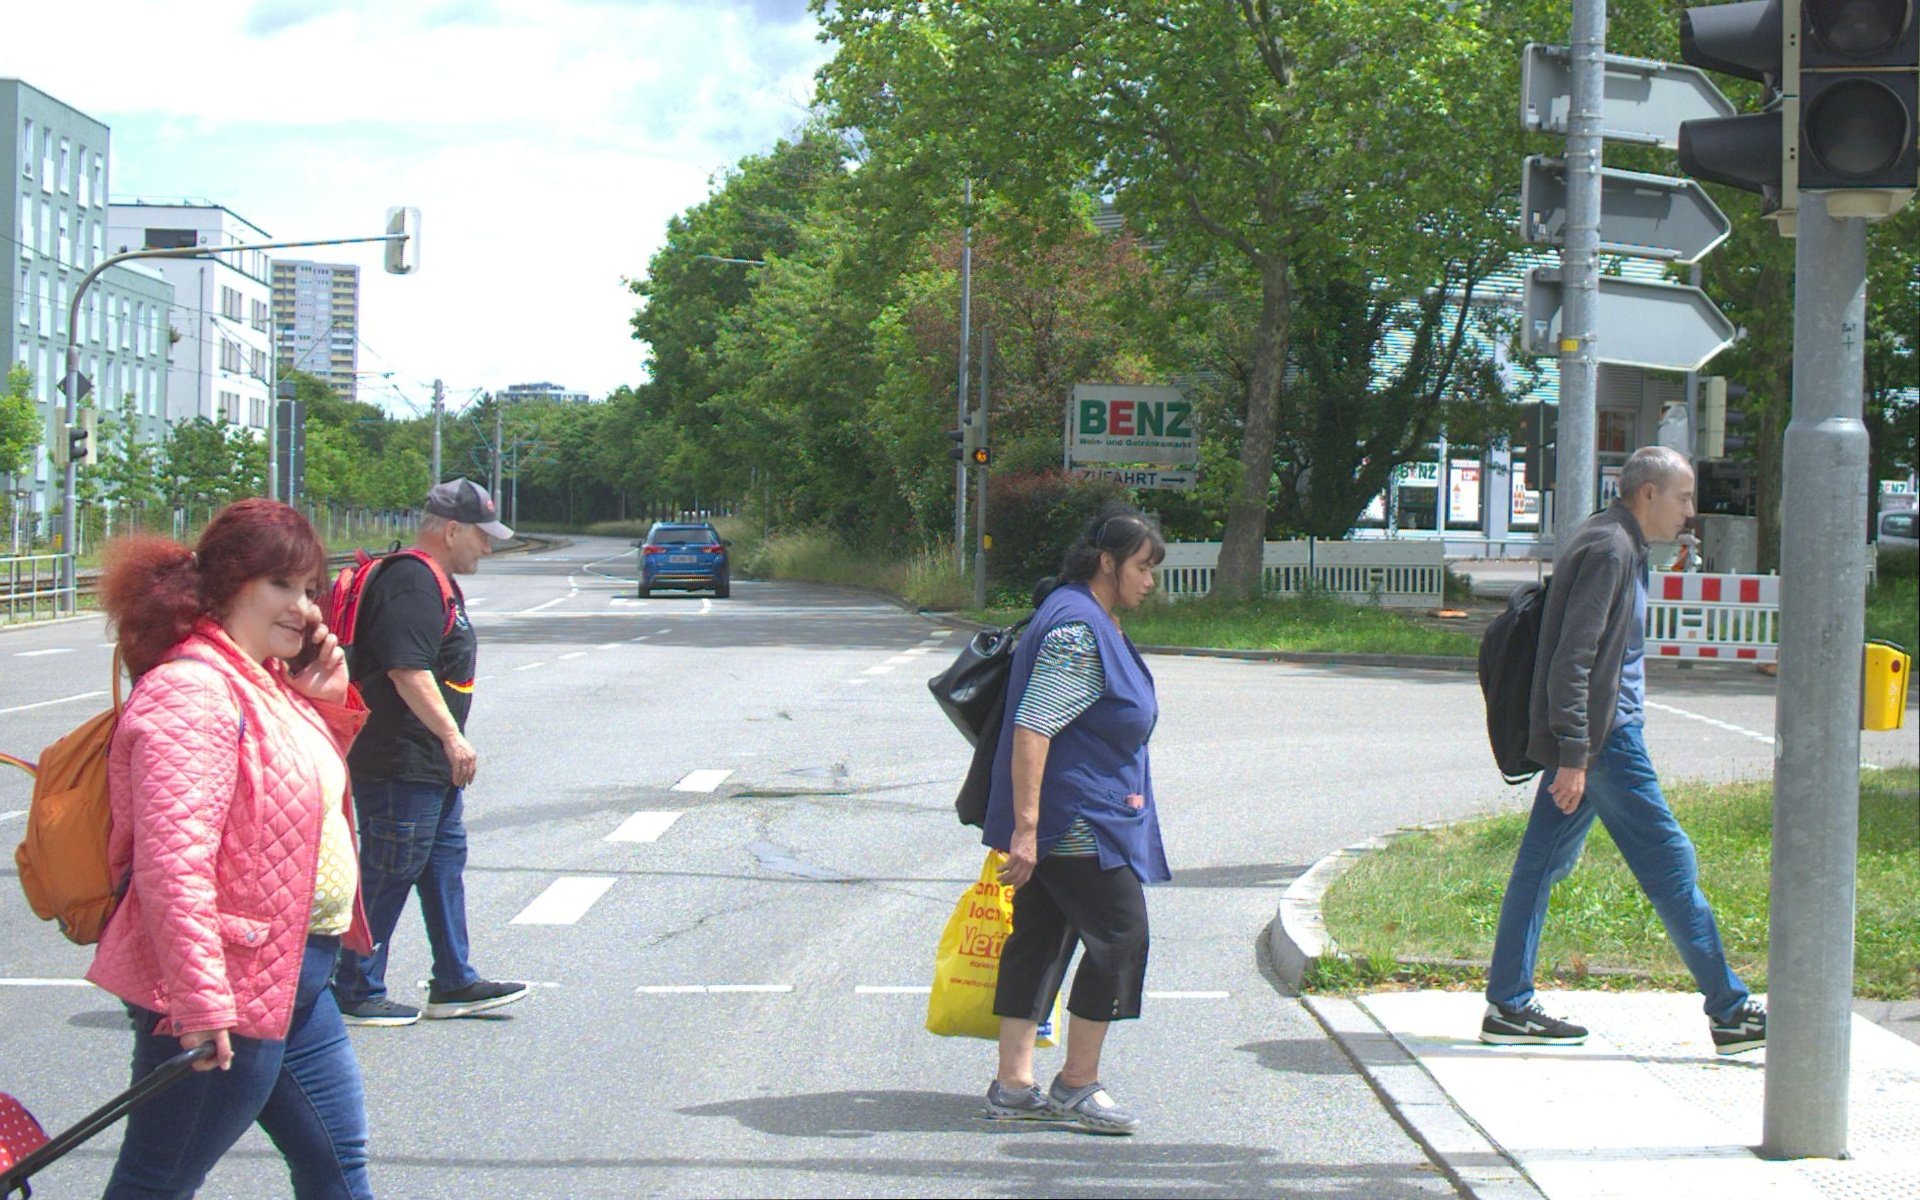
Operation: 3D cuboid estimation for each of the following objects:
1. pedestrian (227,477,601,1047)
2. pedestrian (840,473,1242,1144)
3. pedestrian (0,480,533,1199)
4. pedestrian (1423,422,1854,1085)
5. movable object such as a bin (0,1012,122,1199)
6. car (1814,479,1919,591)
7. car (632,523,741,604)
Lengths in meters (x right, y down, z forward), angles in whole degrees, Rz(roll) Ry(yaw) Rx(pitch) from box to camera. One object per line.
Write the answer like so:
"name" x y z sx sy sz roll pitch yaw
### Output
"pedestrian" -1.583 0.443 10.102 0.893 1.591 0.908 1 1 4
"pedestrian" 0.228 0.488 8.752 0.913 1.601 0.929 1 1 7
"pedestrian" -1.189 0.585 5.616 0.881 1.549 0.746 1 1 0
"pedestrian" 1.879 0.402 9.672 1.002 1.767 0.929 1 1 0
"movable object such as a bin" -1.819 1.034 5.441 0.795 0.659 0.778 1 1 0
"car" 17.743 -1.182 62.558 1.993 2.007 4.000 0 2 -32
"car" -5.327 -0.733 66.496 1.982 1.481 4.492 0 1 -6
